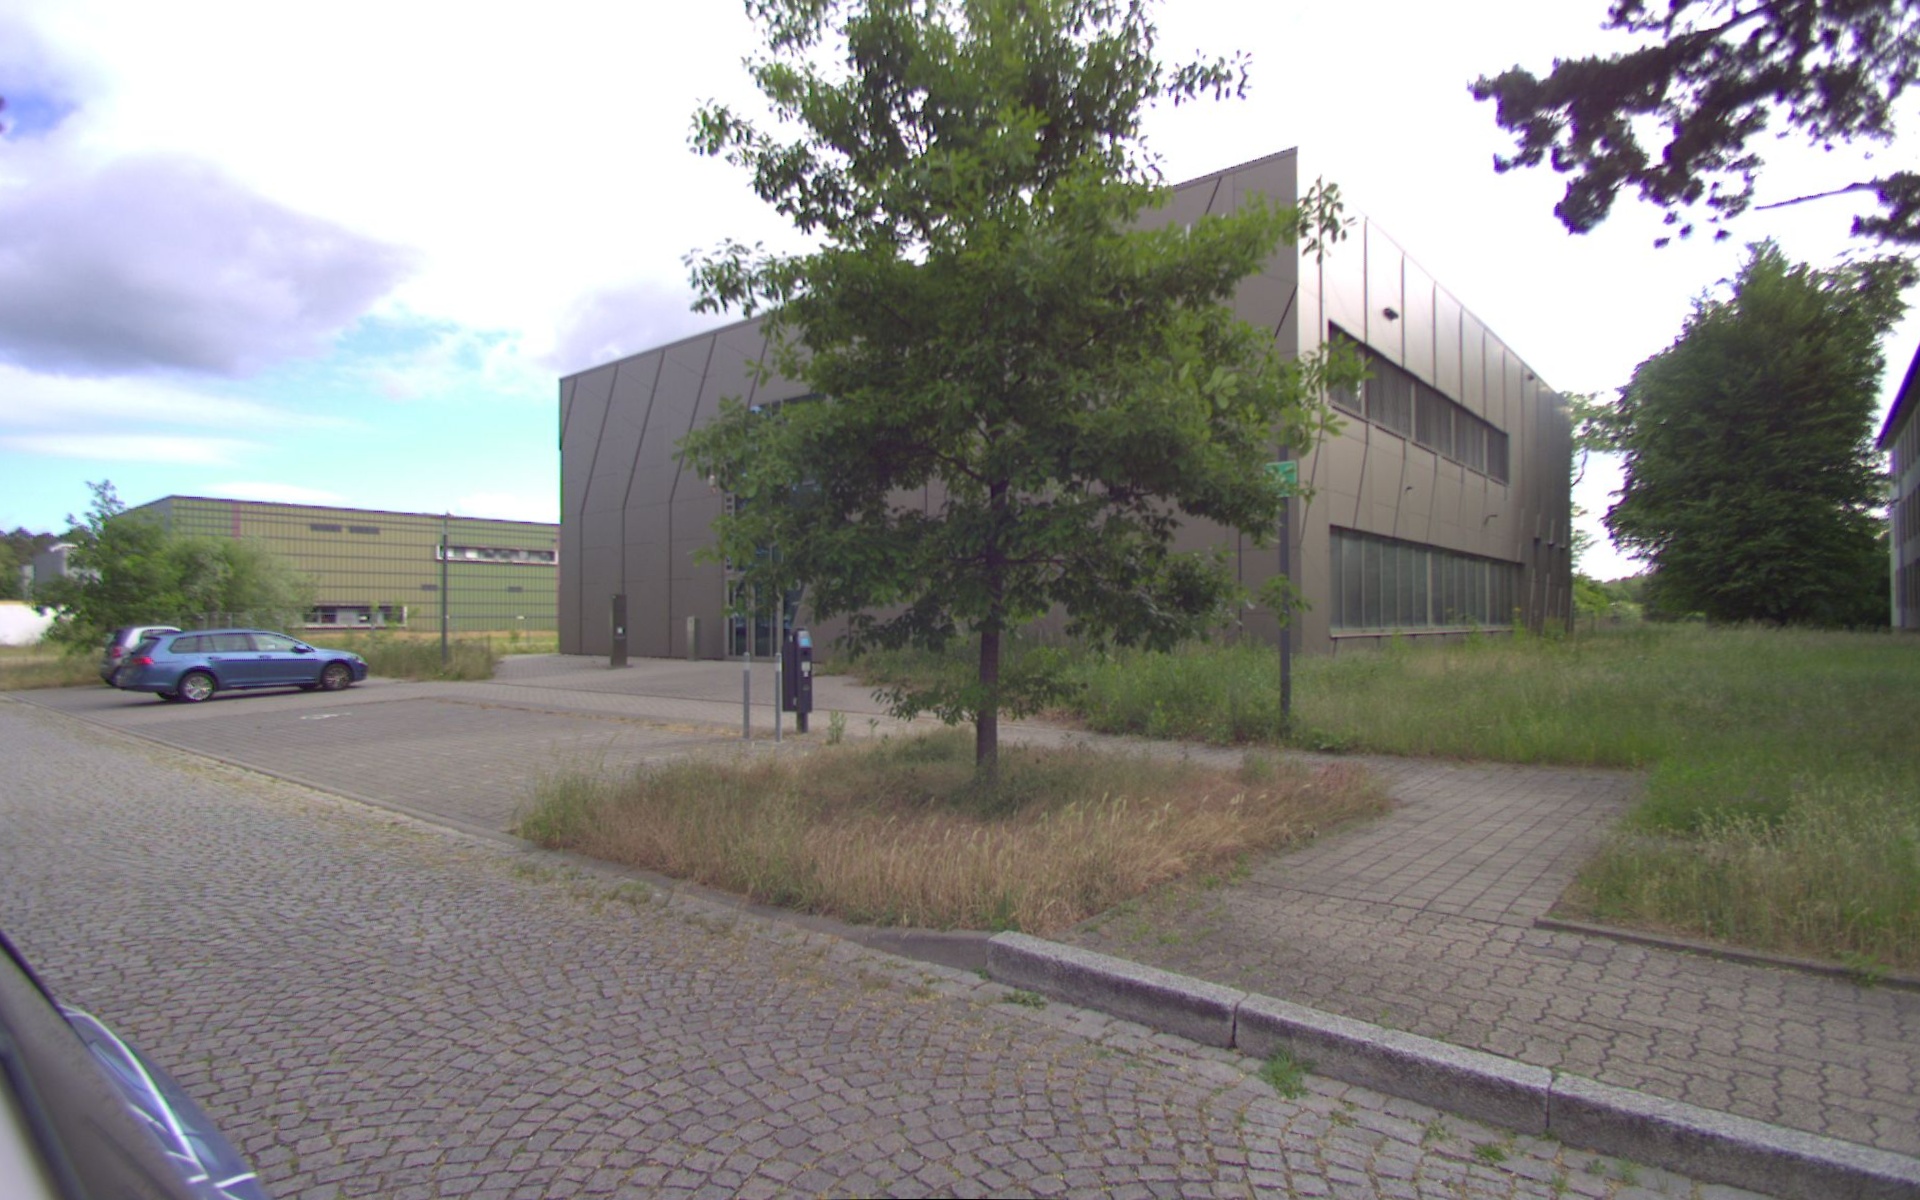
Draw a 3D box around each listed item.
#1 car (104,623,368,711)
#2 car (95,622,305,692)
[{"bbox_3d":[-15.603,1.371,22.026,1.714,1.521,4.352,-1,1,37],"label":"car"},{"bbox_3d":[-20.556,1.467,27.482,4.341,1.557,1.843,-2,0,-44],"label":"car"}]
